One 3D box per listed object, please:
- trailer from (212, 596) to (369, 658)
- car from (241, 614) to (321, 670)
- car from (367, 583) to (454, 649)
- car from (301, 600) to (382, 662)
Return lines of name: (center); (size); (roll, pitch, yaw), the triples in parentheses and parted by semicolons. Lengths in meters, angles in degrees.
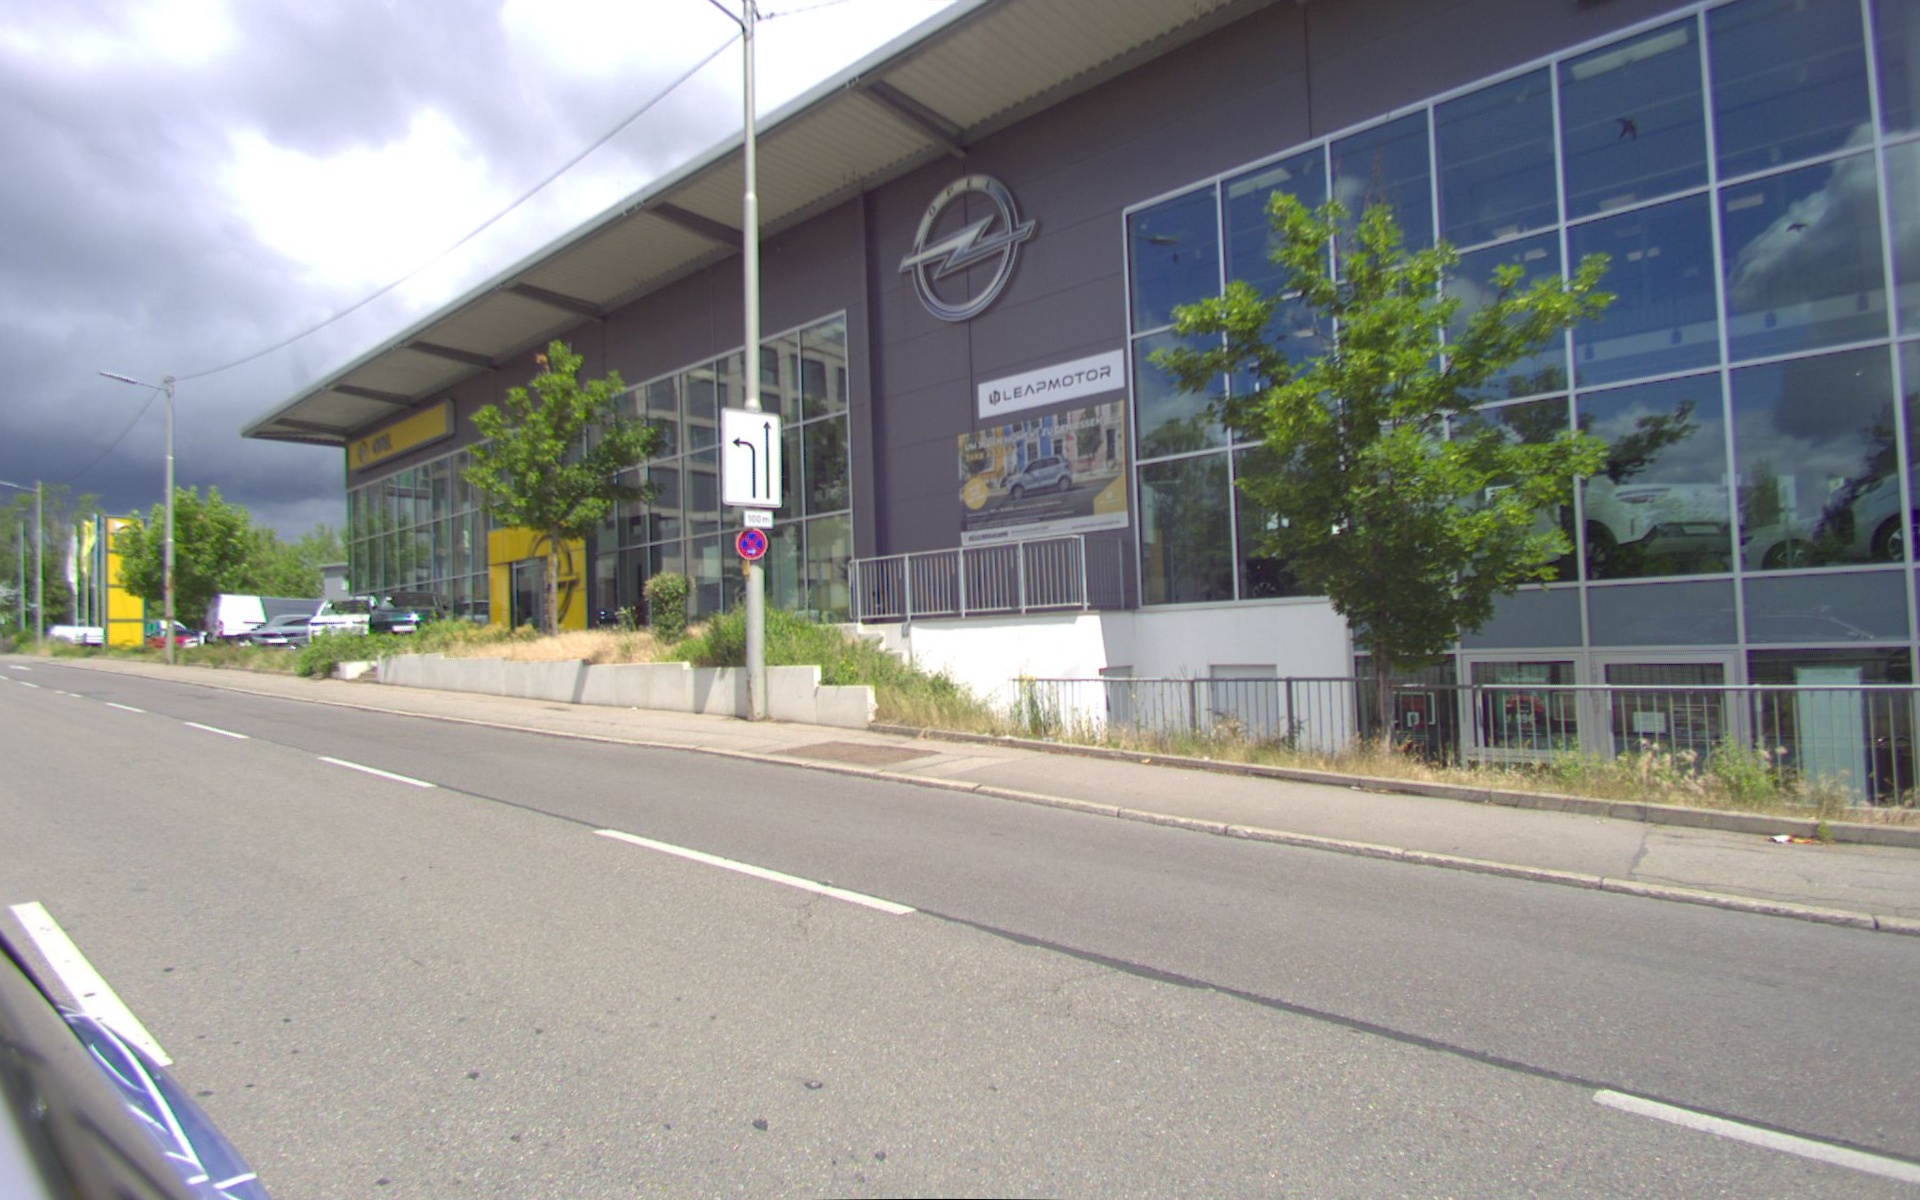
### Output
trailer: (-27.432, 1.095, 41.599); (1.998, 2.367, 5.011); (-1, -2, 39)
car: (-23.484, 1.415, 35.146); (1.966, 1.807, 4.012); (1, -1, -29)
car: (-15.692, 0.478, 28.797); (1.966, 1.741, 4.011); (1, -2, -31)
car: (-19.219, 0.954, 31.585); (1.966, 1.807, 4.012); (1, -2, -29)
